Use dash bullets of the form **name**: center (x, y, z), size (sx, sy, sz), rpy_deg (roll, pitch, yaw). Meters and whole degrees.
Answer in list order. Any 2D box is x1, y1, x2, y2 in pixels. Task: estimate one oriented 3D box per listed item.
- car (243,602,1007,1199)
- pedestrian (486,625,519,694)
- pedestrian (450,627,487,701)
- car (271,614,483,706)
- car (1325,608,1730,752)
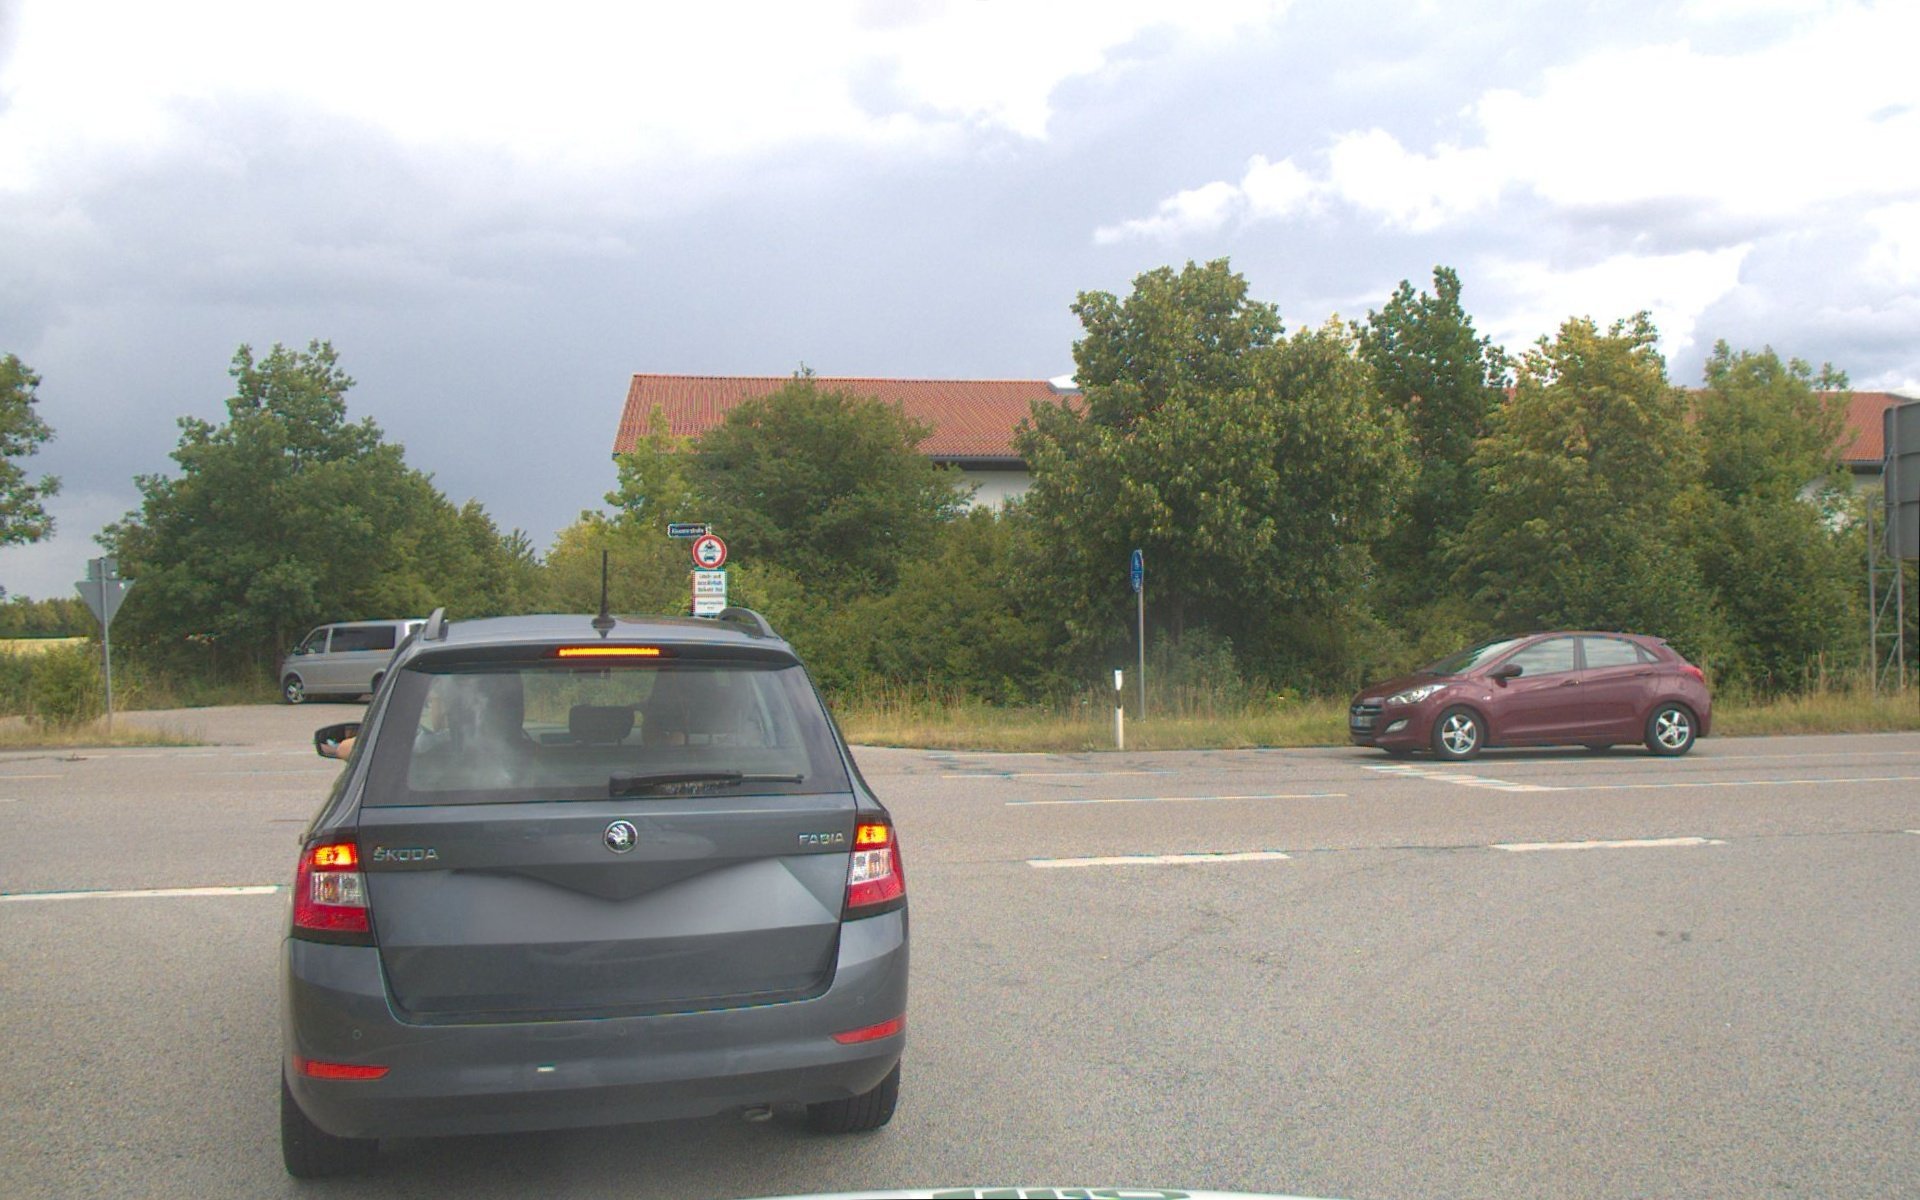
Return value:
- **car**: center (-1.218, 0.758, 5.395), size (1.650, 1.488, 3.689), rpy_deg (0, 0, -17)
- **pedestrian**: center (-11.565, 1.499, 41.821), size (0.571, 1.712, 0.566), rpy_deg (-1, 0, 17)
- **pedestrian**: center (-11.929, 1.557, 40.158), size (0.518, 1.756, 0.640), rpy_deg (-1, 0, 29)
- **car**: center (-14.280, 1.431, 40.489), size (4.807, 2.049, 2.338), rpy_deg (-1, 1, 30)
- **car**: center (6.636, 0.907, 19.567), size (4.073, 1.490, 1.995), rpy_deg (-1, -1, -11)
